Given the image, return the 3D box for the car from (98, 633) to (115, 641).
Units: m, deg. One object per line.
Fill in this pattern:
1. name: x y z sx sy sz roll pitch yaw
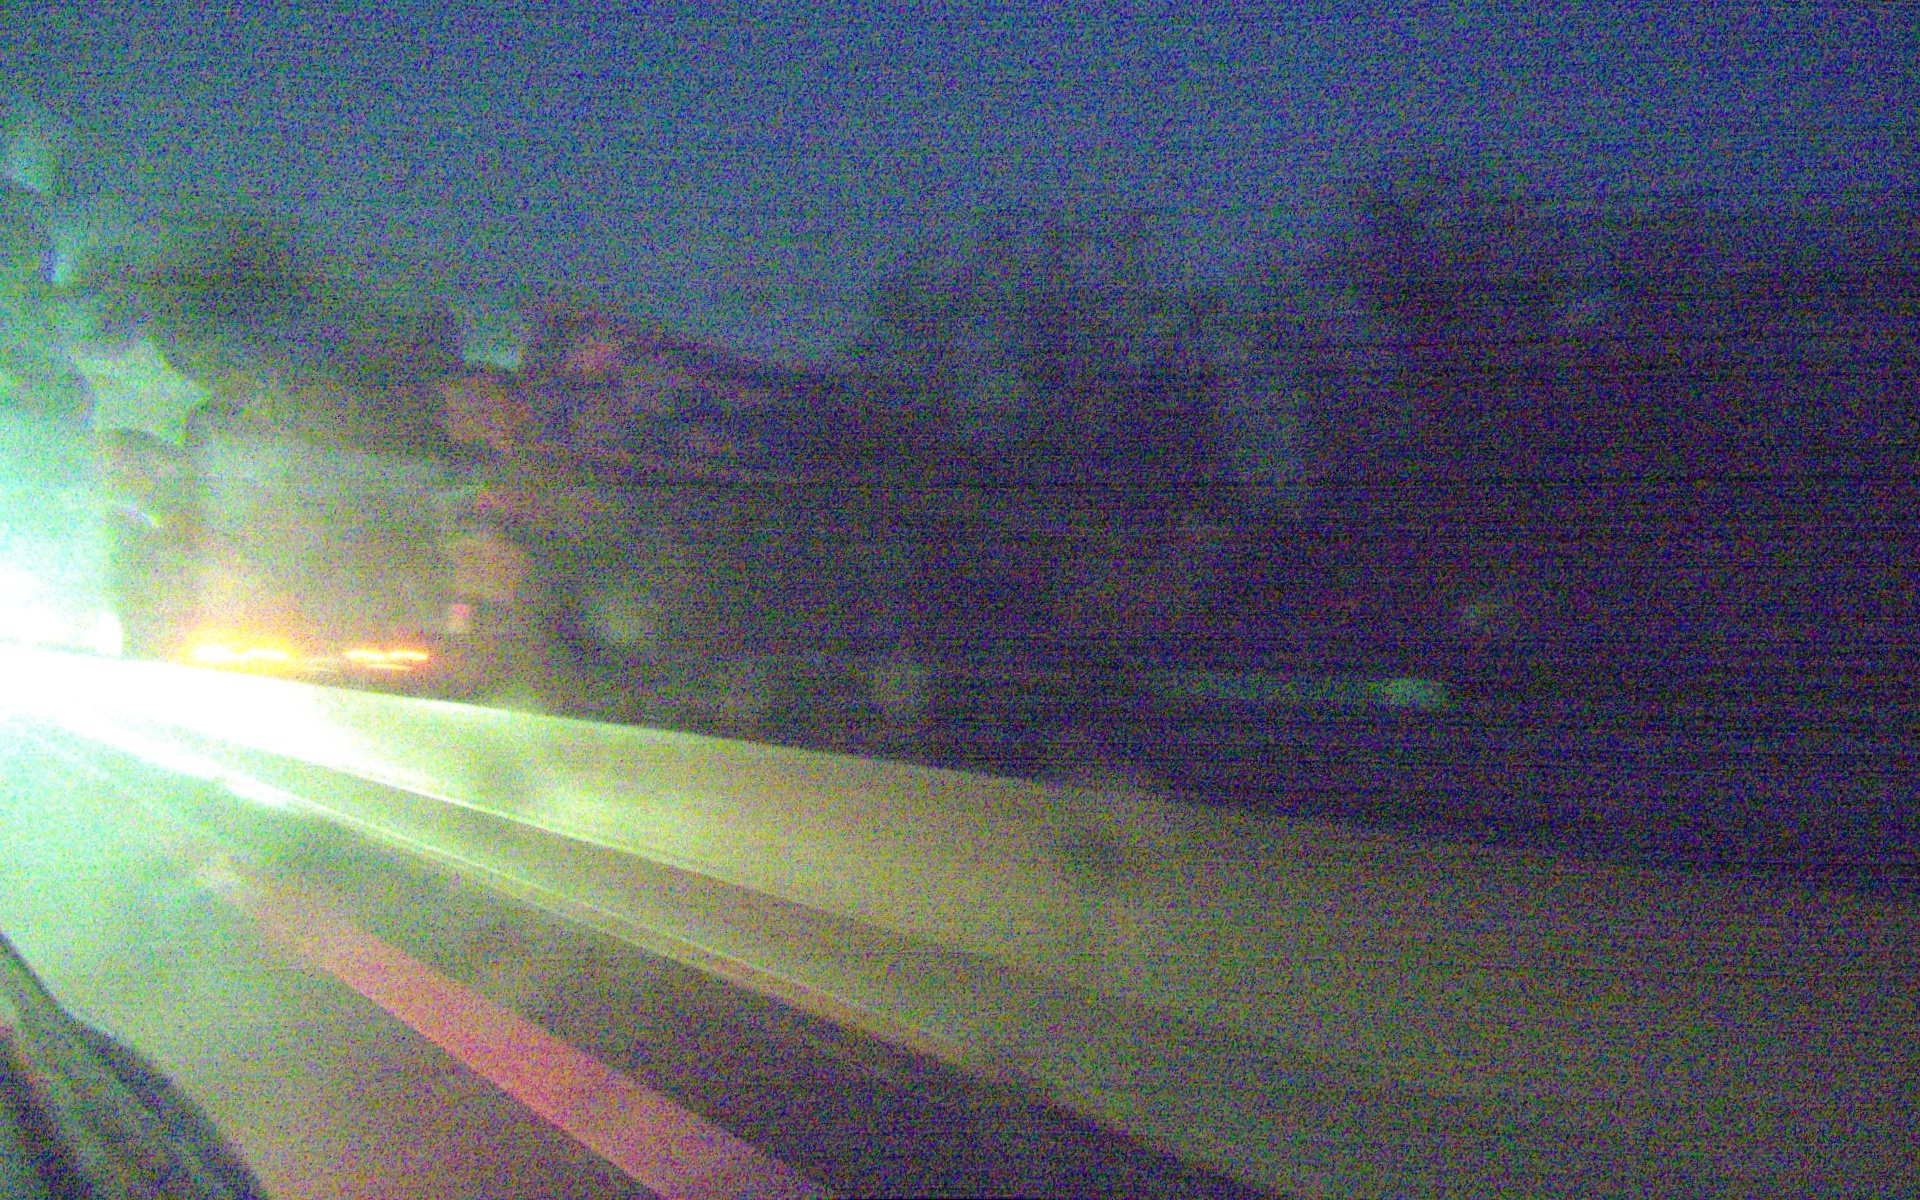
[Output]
1. car: -155.534 6.717 184.331 4.507 1.491 1.762 -2 -4 42

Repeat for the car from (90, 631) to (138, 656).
1. car: -52.363 2.692 62.641 3.793 1.519 1.715 -2 -4 42

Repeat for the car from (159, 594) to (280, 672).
1. car: -20.785 0.876 28.341 4.378 2.029 1.766 -1 0 40

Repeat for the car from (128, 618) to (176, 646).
1. car: -76.283 3.076 95.529 7.145 2.462 2.356 -2 -4 42

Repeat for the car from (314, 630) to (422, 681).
1. car: -19.845 1.811 33.849 4.378 1.538 1.766 -1 0 40

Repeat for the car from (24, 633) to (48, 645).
1. car: -118.352 5.042 129.600 4.507 1.491 1.762 -2 -4 42
